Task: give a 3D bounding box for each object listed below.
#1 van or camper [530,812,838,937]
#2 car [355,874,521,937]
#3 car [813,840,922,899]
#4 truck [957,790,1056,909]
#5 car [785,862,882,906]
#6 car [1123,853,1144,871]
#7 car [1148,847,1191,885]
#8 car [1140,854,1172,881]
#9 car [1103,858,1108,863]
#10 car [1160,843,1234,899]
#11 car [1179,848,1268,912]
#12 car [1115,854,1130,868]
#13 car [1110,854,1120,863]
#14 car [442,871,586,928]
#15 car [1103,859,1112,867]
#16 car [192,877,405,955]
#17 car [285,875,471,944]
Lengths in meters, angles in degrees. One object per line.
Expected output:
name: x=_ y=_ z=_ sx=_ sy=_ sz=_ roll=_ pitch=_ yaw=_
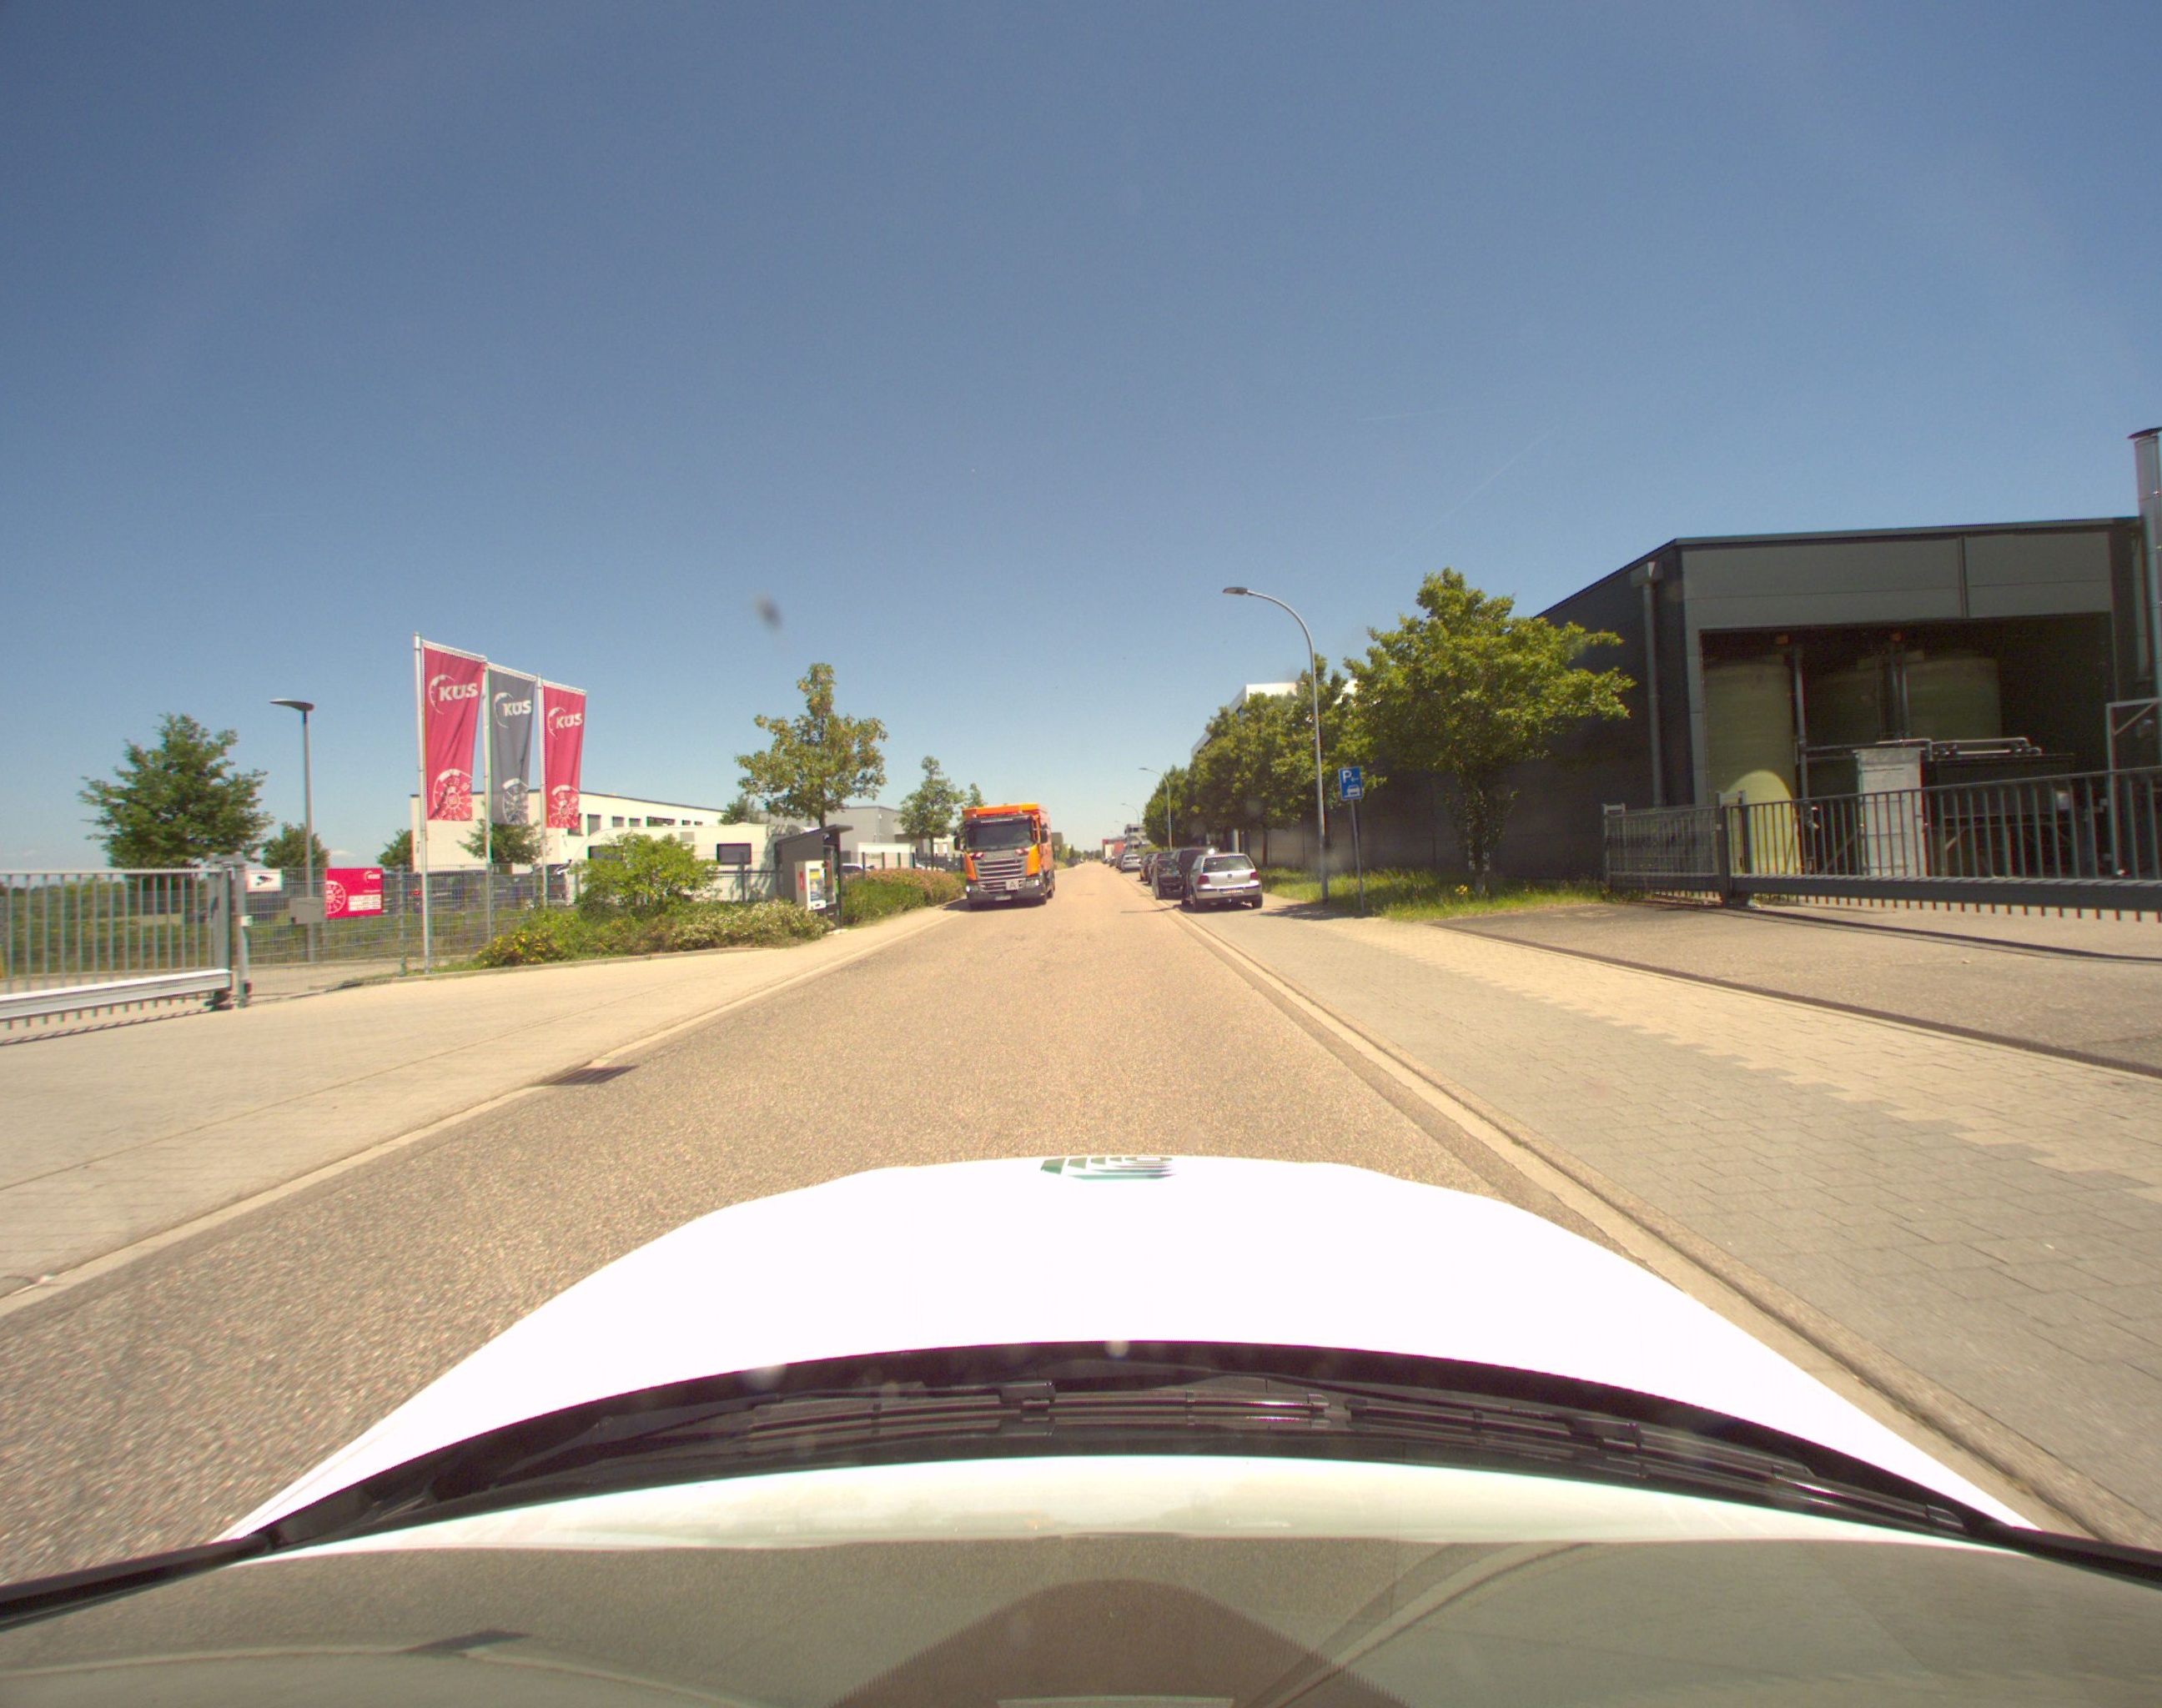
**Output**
van or camper: x=-11.180 y=0.554 z=23.487 sx=7.361 sy=3.037 sz=2.790 roll=-3 pitch=0 yaw=0
car: x=-21.589 y=1.686 z=27.482 sx=3.974 sy=1.816 sz=1.916 roll=-3 pitch=0 yaw=0
car: x=-10.355 y=0.741 z=39.785 sx=4.705 sy=2.586 sz=1.998 roll=-3 pitch=0 yaw=-3
truck: x=-2.434 y=-0.137 z=29.247 sx=2.440 sy=3.513 sz=8.273 roll=-4 pitch=0 yaw=1
car: x=-10.269 y=1.209 z=33.887 sx=3.477 sy=1.611 sz=1.500 roll=-3 pitch=0 yaw=0
car: x=4.391 y=0.691 z=68.492 sx=1.579 sy=1.409 sz=3.500 roll=-3 pitch=0 yaw=1
car: x=4.222 y=0.554 z=39.359 sx=1.715 sy=1.694 sz=3.986 roll=-3 pitch=0 yaw=2
car: x=4.163 y=0.720 z=45.691 sx=1.490 sy=1.409 sz=3.500 roll=-3 pitch=0 yaw=1
car: x=7.360 y=1.878 z=244.101 sx=1.490 sy=1.409 sz=3.500 roll=-3 pitch=0 yaw=1
car: x=3.853 y=0.554 z=27.600 sx=1.674 sy=1.686 sz=3.995 roll=-3 pitch=0 yaw=-3
car: x=3.661 y=0.640 z=21.513 sx=1.712 sy=1.450 sz=3.646 roll=-3 pitch=-1 yaw=1
car: x=4.677 y=0.781 z=91.706 sx=1.490 sy=1.409 sz=3.500 roll=-3 pitch=0 yaw=1
car: x=5.489 y=0.793 z=132.852 sx=1.490 sy=1.409 sz=3.500 roll=-3 pitch=0 yaw=1
car: x=-21.192 y=1.675 z=30.550 sx=3.974 sy=1.816 sz=1.916 roll=-3 pitch=0 yaw=0
car: x=4.767 y=1.593 z=148.382 sx=1.490 sy=1.409 sz=3.500 roll=-3 pitch=0 yaw=1
car: x=-21.703 y=1.678 z=22.708 sx=3.974 sy=1.816 sz=1.916 roll=-3 pitch=0 yaw=0
car: x=-21.612 y=1.678 z=25.155 sx=3.974 sy=1.816 sz=1.916 roll=-3 pitch=0 yaw=0
